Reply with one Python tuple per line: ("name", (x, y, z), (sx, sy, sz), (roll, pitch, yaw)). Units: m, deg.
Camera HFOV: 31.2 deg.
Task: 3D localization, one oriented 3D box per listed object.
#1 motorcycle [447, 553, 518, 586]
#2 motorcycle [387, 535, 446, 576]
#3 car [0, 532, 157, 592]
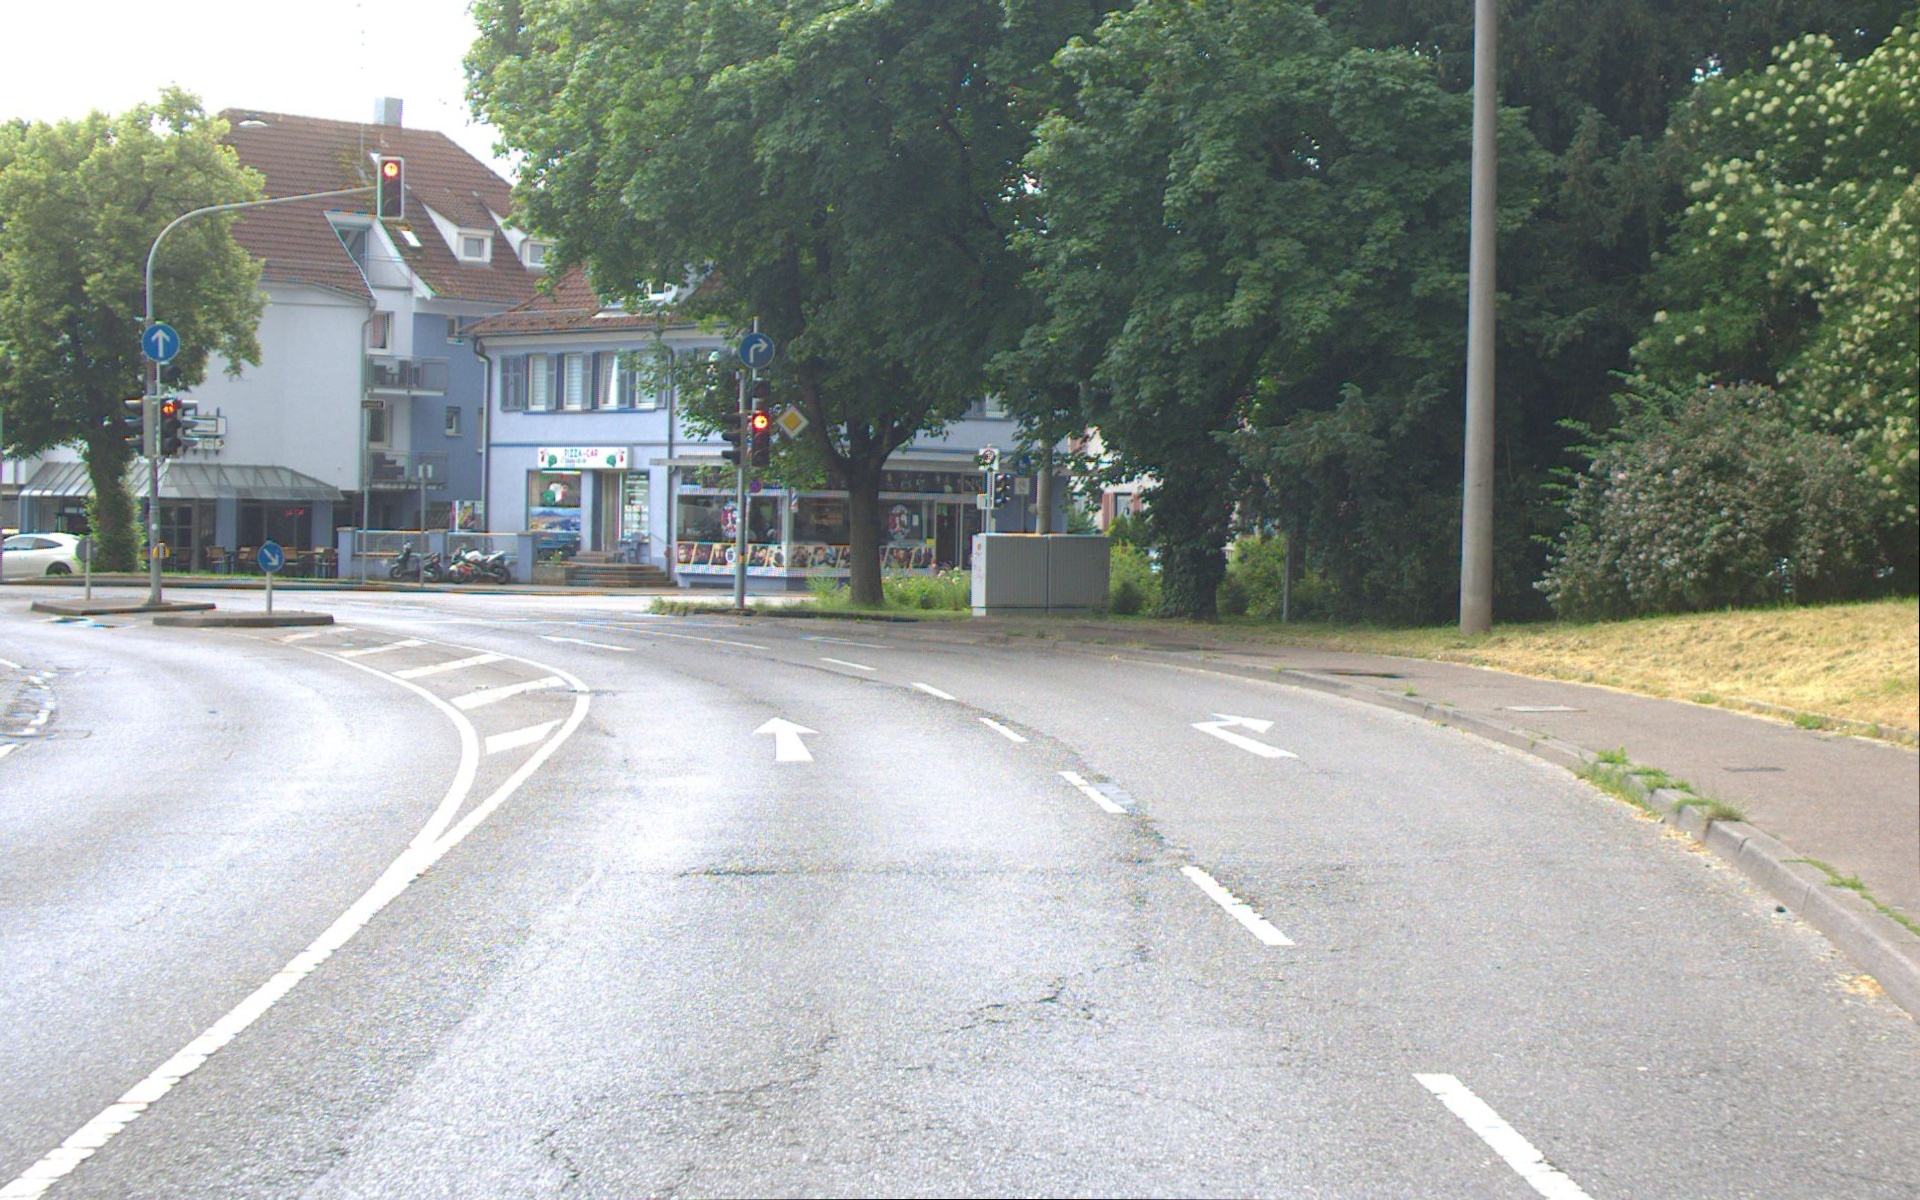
("motorcycle", (-13.129, -0.838, 94.497), (1.837, 0.845, 0.560), (0, 6, 15))
("motorcycle", (-15.119, -1.238, 95.657), (1.496, 1.103, 0.560), (0, 6, 12))
("car", (-23.123, -0.979, 88.069), (4.580, 1.512, 1.999), (0, 1, 14))
